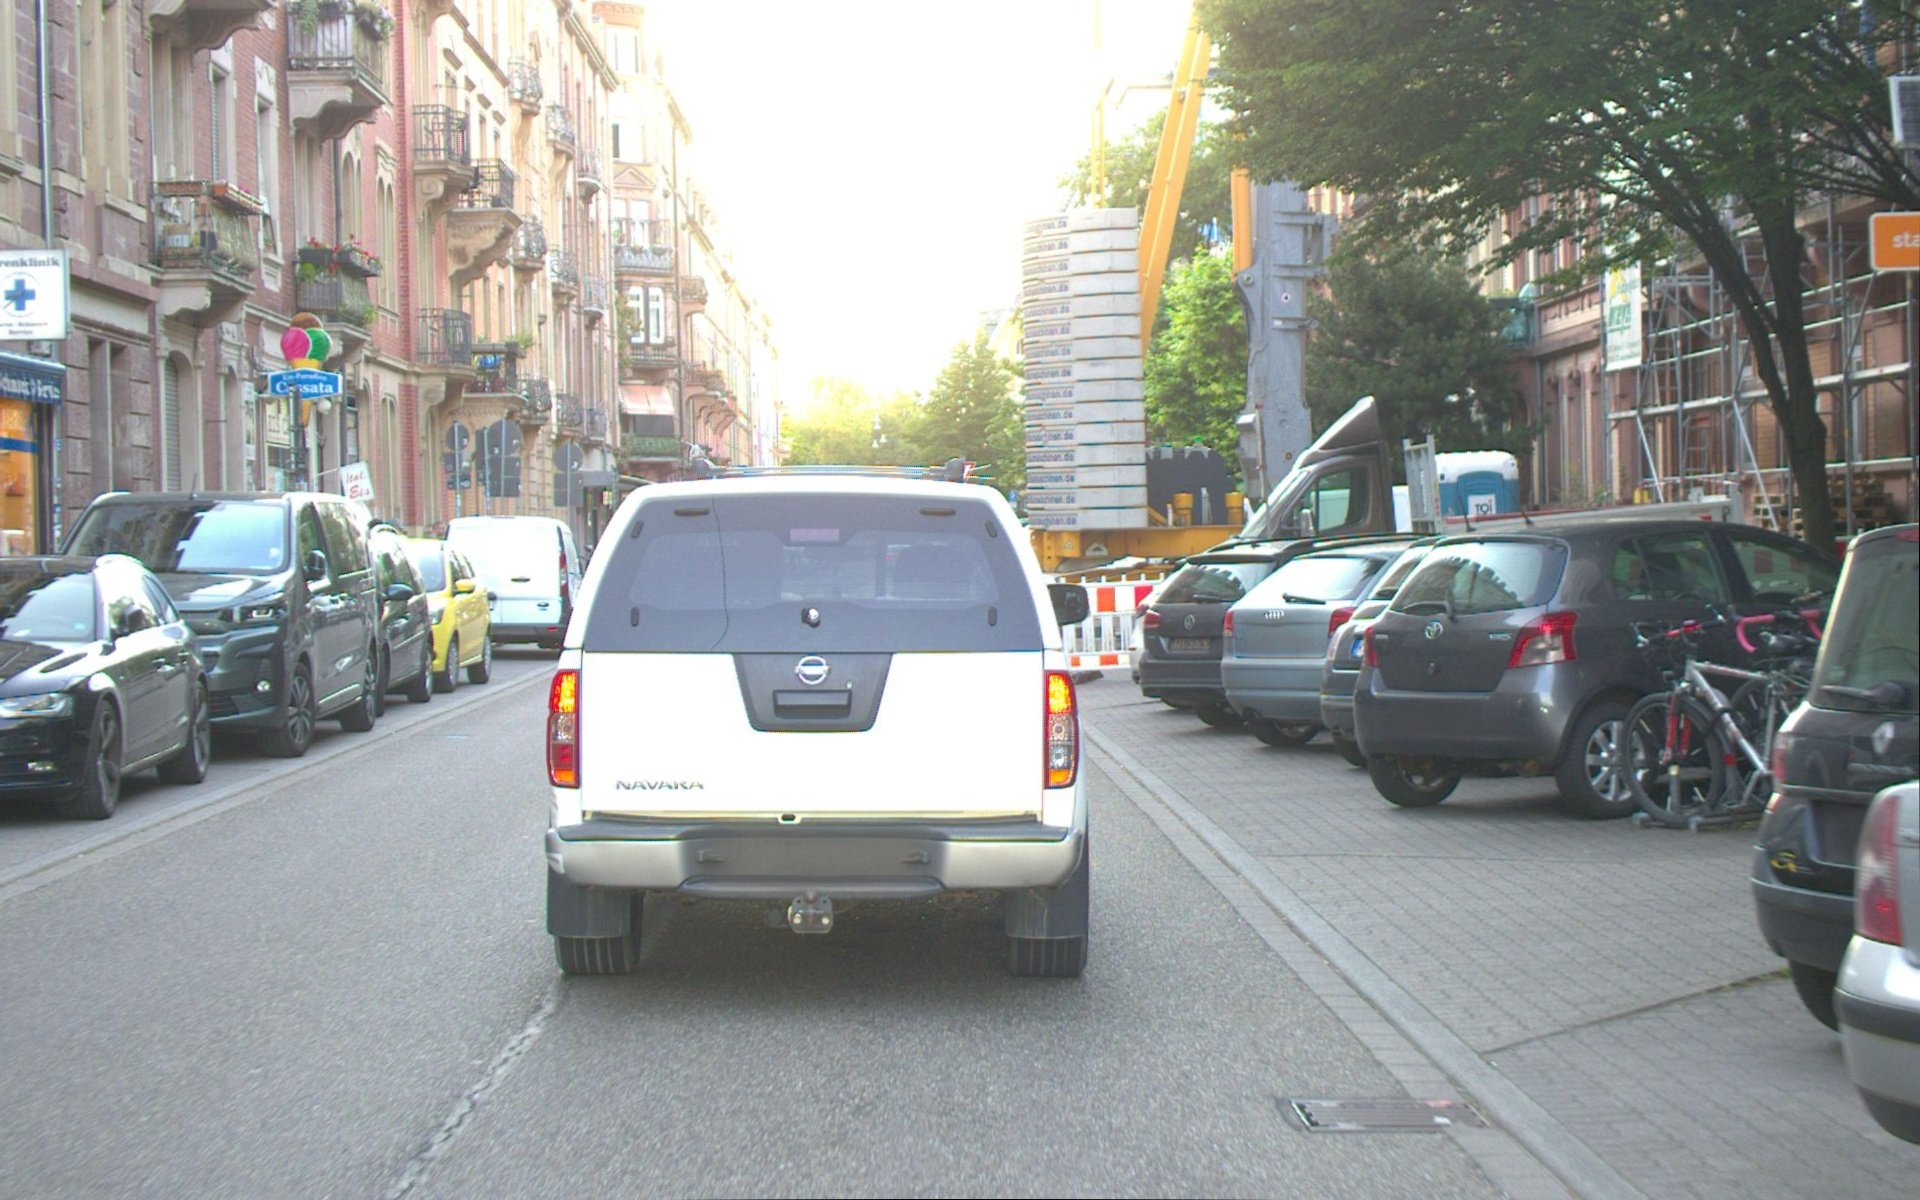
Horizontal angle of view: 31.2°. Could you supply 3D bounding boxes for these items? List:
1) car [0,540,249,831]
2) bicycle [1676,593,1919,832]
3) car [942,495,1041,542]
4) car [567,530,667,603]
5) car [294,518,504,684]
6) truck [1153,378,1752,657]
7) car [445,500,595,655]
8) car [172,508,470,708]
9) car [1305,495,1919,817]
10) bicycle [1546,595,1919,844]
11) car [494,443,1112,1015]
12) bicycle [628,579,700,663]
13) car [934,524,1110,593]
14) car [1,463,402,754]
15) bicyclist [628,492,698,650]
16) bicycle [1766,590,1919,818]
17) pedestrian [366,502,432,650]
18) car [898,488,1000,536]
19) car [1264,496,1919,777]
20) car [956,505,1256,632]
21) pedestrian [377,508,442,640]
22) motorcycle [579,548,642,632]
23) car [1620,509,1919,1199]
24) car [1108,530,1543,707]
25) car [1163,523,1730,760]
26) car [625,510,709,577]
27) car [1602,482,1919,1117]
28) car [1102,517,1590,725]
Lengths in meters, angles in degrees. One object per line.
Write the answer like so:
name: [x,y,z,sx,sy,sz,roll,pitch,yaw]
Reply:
car: [-5.438,0.396,19.669,1.911,1.467,4.534,0,1,-2]
bicycle: [4.318,0.525,16.619,0.557,1.104,1.858,-1,0,-30]
car: [1.489,-3.824,160.879,4.588,2.170,1.819,0,1,2]
car: [-7.310,-0.737,73.512,1.791,1.525,4.000,0,1,-1]
car: [-5.730,-0.031,35.473,1.499,1.588,3.856,-1,1,0]
truck: [5.382,-0.874,38.292,6.320,2.966,2.264,0,-2,0]
car: [-5.678,-0.320,44.714,1.559,1.914,3.857,1,1,-2]
car: [-5.718,0.028,31.242,1.905,1.657,4.068,-1,1,0]
car: [3.782,0.233,18.583,3.396,1.469,1.775,-4,3,-32]
bicycle: [3.671,0.545,16.348,0.692,1.104,1.858,-1,0,-30]
car: [-0.489,0.360,13.177,1.933,1.788,4.622,1,1,0]
bicycle: [-3.495,0.234,40.723,0.800,0.944,2.005,0,1,-3]
car: [1.509,-1.011,83.183,4.195,1.616,1.819,0,1,2]
car: [-5.423,0.005,25.239,1.904,1.919,4.947,0,1,-1]
bicyclist: [-3.513,-0.350,40.712,0.800,1.843,0.944,0,1,-3]
bicycle: [4.837,0.502,16.910,0.557,1.104,1.858,-1,0,-30]
pedestrian: [-7.102,-0.311,43.530,0.738,1.863,0.618,0,1,-3]
car: [-0.493,-4.024,157.311,4.588,2.170,1.819,0,1,2]
car: [4.062,0.190,21.900,3.824,1.525,1.763,-3,1,-26]
car: [2.116,-0.462,49.226,4.196,1.774,1.819,0,1,5]
pedestrian: [-7.841,-0.370,48.979,0.617,1.863,0.739,0,1,22]
motorcycle: [-6.076,-0.191,59.827,0.837,1.411,2.549,0,1,0]
car: [3.661,0.532,7.253,4.373,1.529,1.807,-2,1,-32]
car: [3.219,0.121,30.127,3.548,1.459,1.611,-1,1,-32]
car: [3.513,0.243,24.582,3.826,1.432,1.762,-3,2,-36]
car: [-6.823,-1.325,80.393,1.710,1.525,4.000,0,1,-1]
car: [4.103,0.423,10.078,3.986,1.631,1.759,-3,2,-21]
car: [3.106,0.115,27.269,3.882,1.525,1.637,-1,1,-40]
